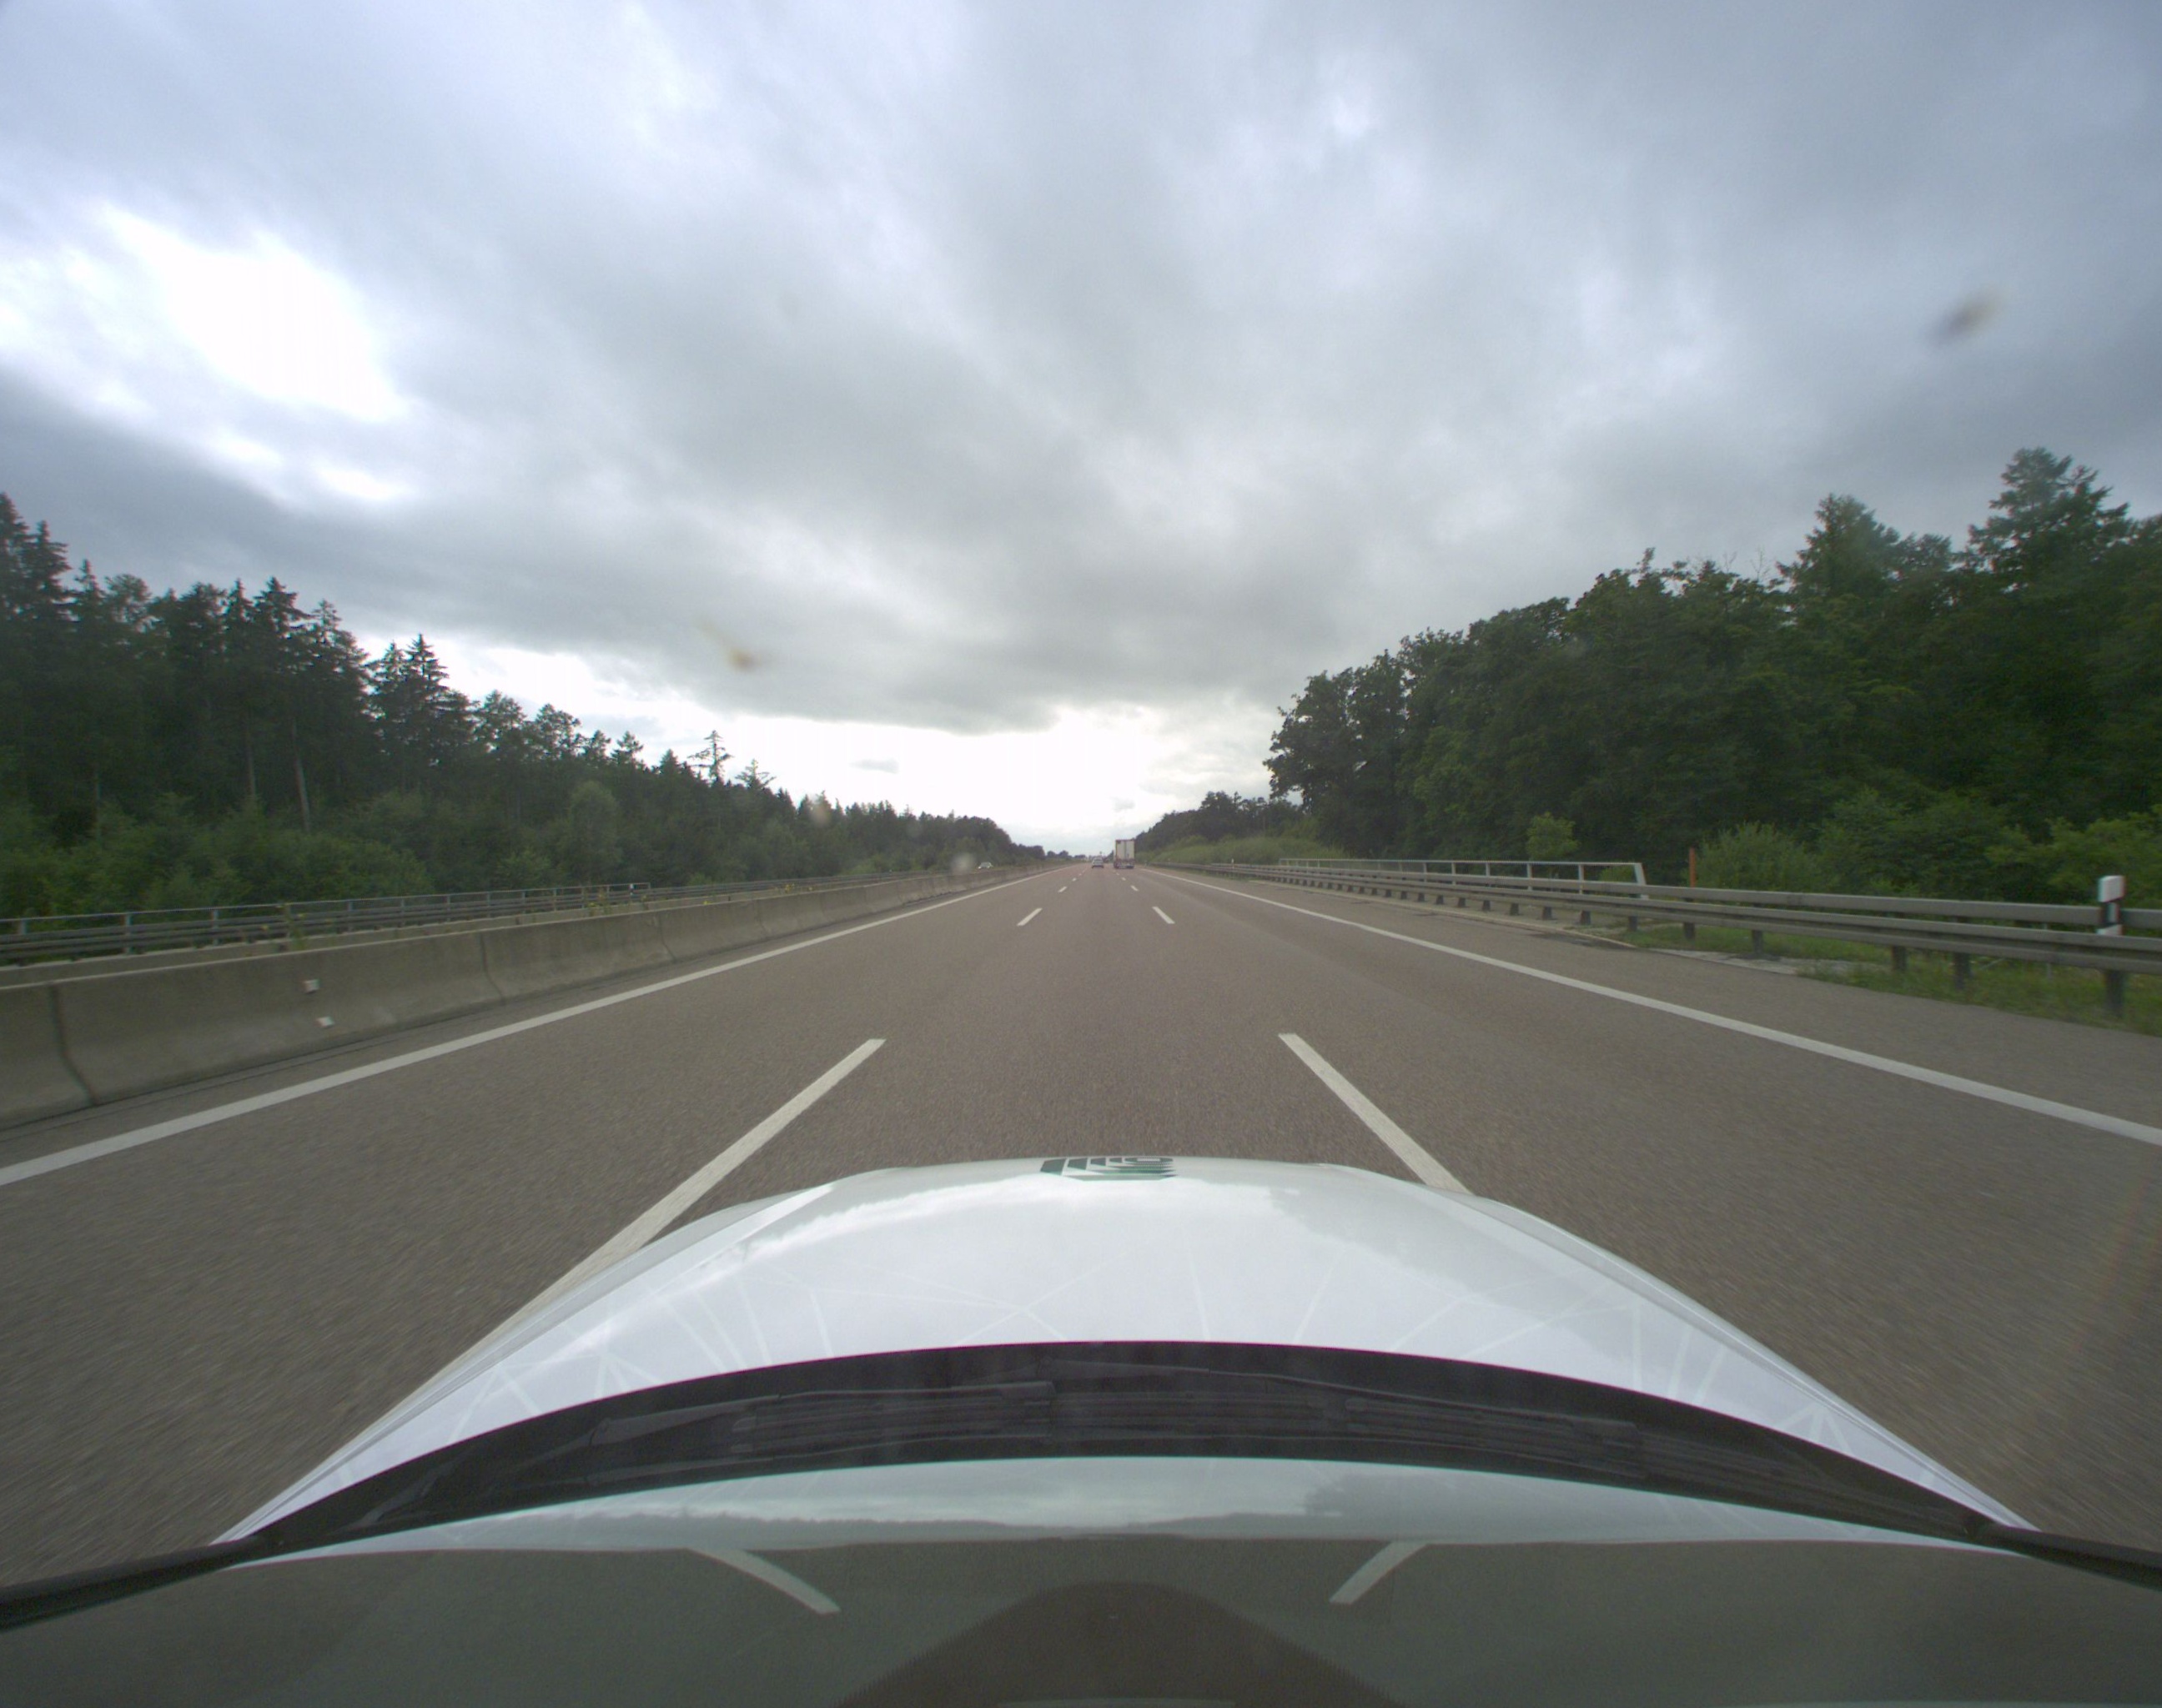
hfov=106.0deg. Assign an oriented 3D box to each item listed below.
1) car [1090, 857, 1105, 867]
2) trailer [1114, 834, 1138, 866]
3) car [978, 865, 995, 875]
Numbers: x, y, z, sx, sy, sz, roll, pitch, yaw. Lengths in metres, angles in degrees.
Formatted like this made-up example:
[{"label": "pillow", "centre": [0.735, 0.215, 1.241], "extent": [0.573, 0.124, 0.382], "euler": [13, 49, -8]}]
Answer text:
[{"label": "car", "centre": [2.491, 1.202, 125.285], "extent": [2.155, 1.451, 4.722], "euler": [0, 0, 3]}, {"label": "trailer", "centre": [6.327, -0.465, 115.914], "extent": [2.911, 4.294, 13.616], "euler": [-1, -1, 1]}, {"label": "car", "centre": [-15.924, 2.650, 137.357], "extent": [2.116, 1.591, 5.198], "euler": [-2, 0, 1]}]
